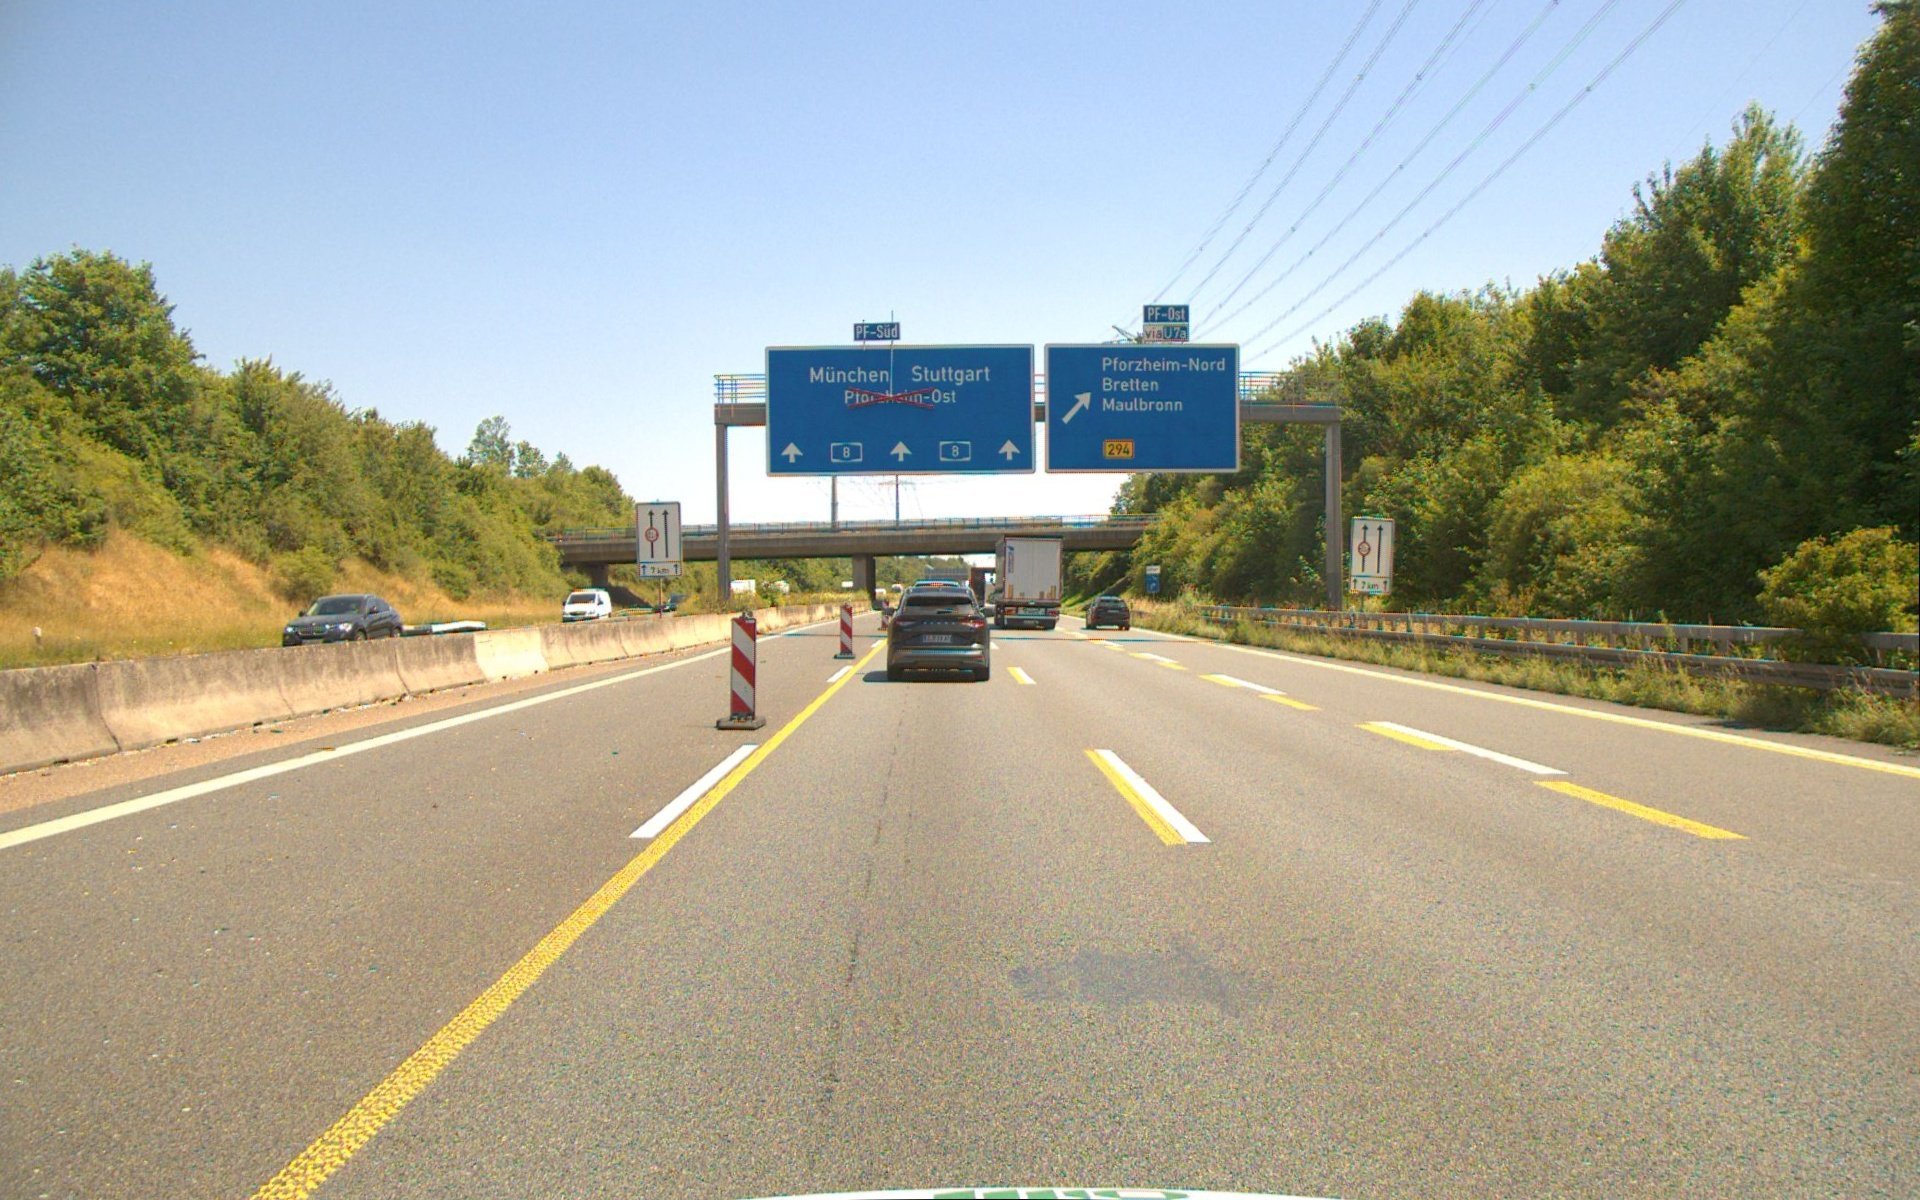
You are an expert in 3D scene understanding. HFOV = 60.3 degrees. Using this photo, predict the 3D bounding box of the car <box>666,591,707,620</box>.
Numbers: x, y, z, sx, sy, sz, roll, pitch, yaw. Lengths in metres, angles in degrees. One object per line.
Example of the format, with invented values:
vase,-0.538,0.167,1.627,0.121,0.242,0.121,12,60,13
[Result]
car,-16.799,0.332,101.782,1.834,1.724,4.497,-1,0,-1

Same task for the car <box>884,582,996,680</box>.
car,-0.401,0.503,29.931,1.857,1.620,4.441,1,1,-2

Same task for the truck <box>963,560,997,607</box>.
truck,1.826,-1.549,157.099,3.015,4.219,13.054,1,0,0

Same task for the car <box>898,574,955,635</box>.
car,-1.166,0.109,56.482,1.857,1.873,4.442,0,3,-2

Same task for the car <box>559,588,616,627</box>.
car,-20.230,0.374,90.027,1.891,2.049,5.595,-1,0,-1

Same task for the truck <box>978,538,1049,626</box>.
truck,2.600,-0.892,82.712,2.964,4.158,7.792,0,0,-2

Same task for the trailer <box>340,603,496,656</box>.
trailer,-15.813,0.808,48.782,2.308,1.367,7.215,-1,0,-1

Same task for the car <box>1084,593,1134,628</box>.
car,6.762,0.469,75.317,1.743,1.515,4.463,1,0,-1

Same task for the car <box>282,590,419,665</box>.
car,-15.684,0.674,42.805,1.874,1.784,4.564,1,0,-1

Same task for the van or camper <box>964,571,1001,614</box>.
van or camper,1.589,-0.544,120.510,2.533,3.020,6.085,2,0,0

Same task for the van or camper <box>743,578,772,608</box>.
van or camper,-21.931,-0.763,179.386,2.386,3.202,7.625,-1,0,-1

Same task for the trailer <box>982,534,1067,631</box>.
trailer,2.838,-0.793,76.040,3.003,4.113,11.482,0,0,-2
